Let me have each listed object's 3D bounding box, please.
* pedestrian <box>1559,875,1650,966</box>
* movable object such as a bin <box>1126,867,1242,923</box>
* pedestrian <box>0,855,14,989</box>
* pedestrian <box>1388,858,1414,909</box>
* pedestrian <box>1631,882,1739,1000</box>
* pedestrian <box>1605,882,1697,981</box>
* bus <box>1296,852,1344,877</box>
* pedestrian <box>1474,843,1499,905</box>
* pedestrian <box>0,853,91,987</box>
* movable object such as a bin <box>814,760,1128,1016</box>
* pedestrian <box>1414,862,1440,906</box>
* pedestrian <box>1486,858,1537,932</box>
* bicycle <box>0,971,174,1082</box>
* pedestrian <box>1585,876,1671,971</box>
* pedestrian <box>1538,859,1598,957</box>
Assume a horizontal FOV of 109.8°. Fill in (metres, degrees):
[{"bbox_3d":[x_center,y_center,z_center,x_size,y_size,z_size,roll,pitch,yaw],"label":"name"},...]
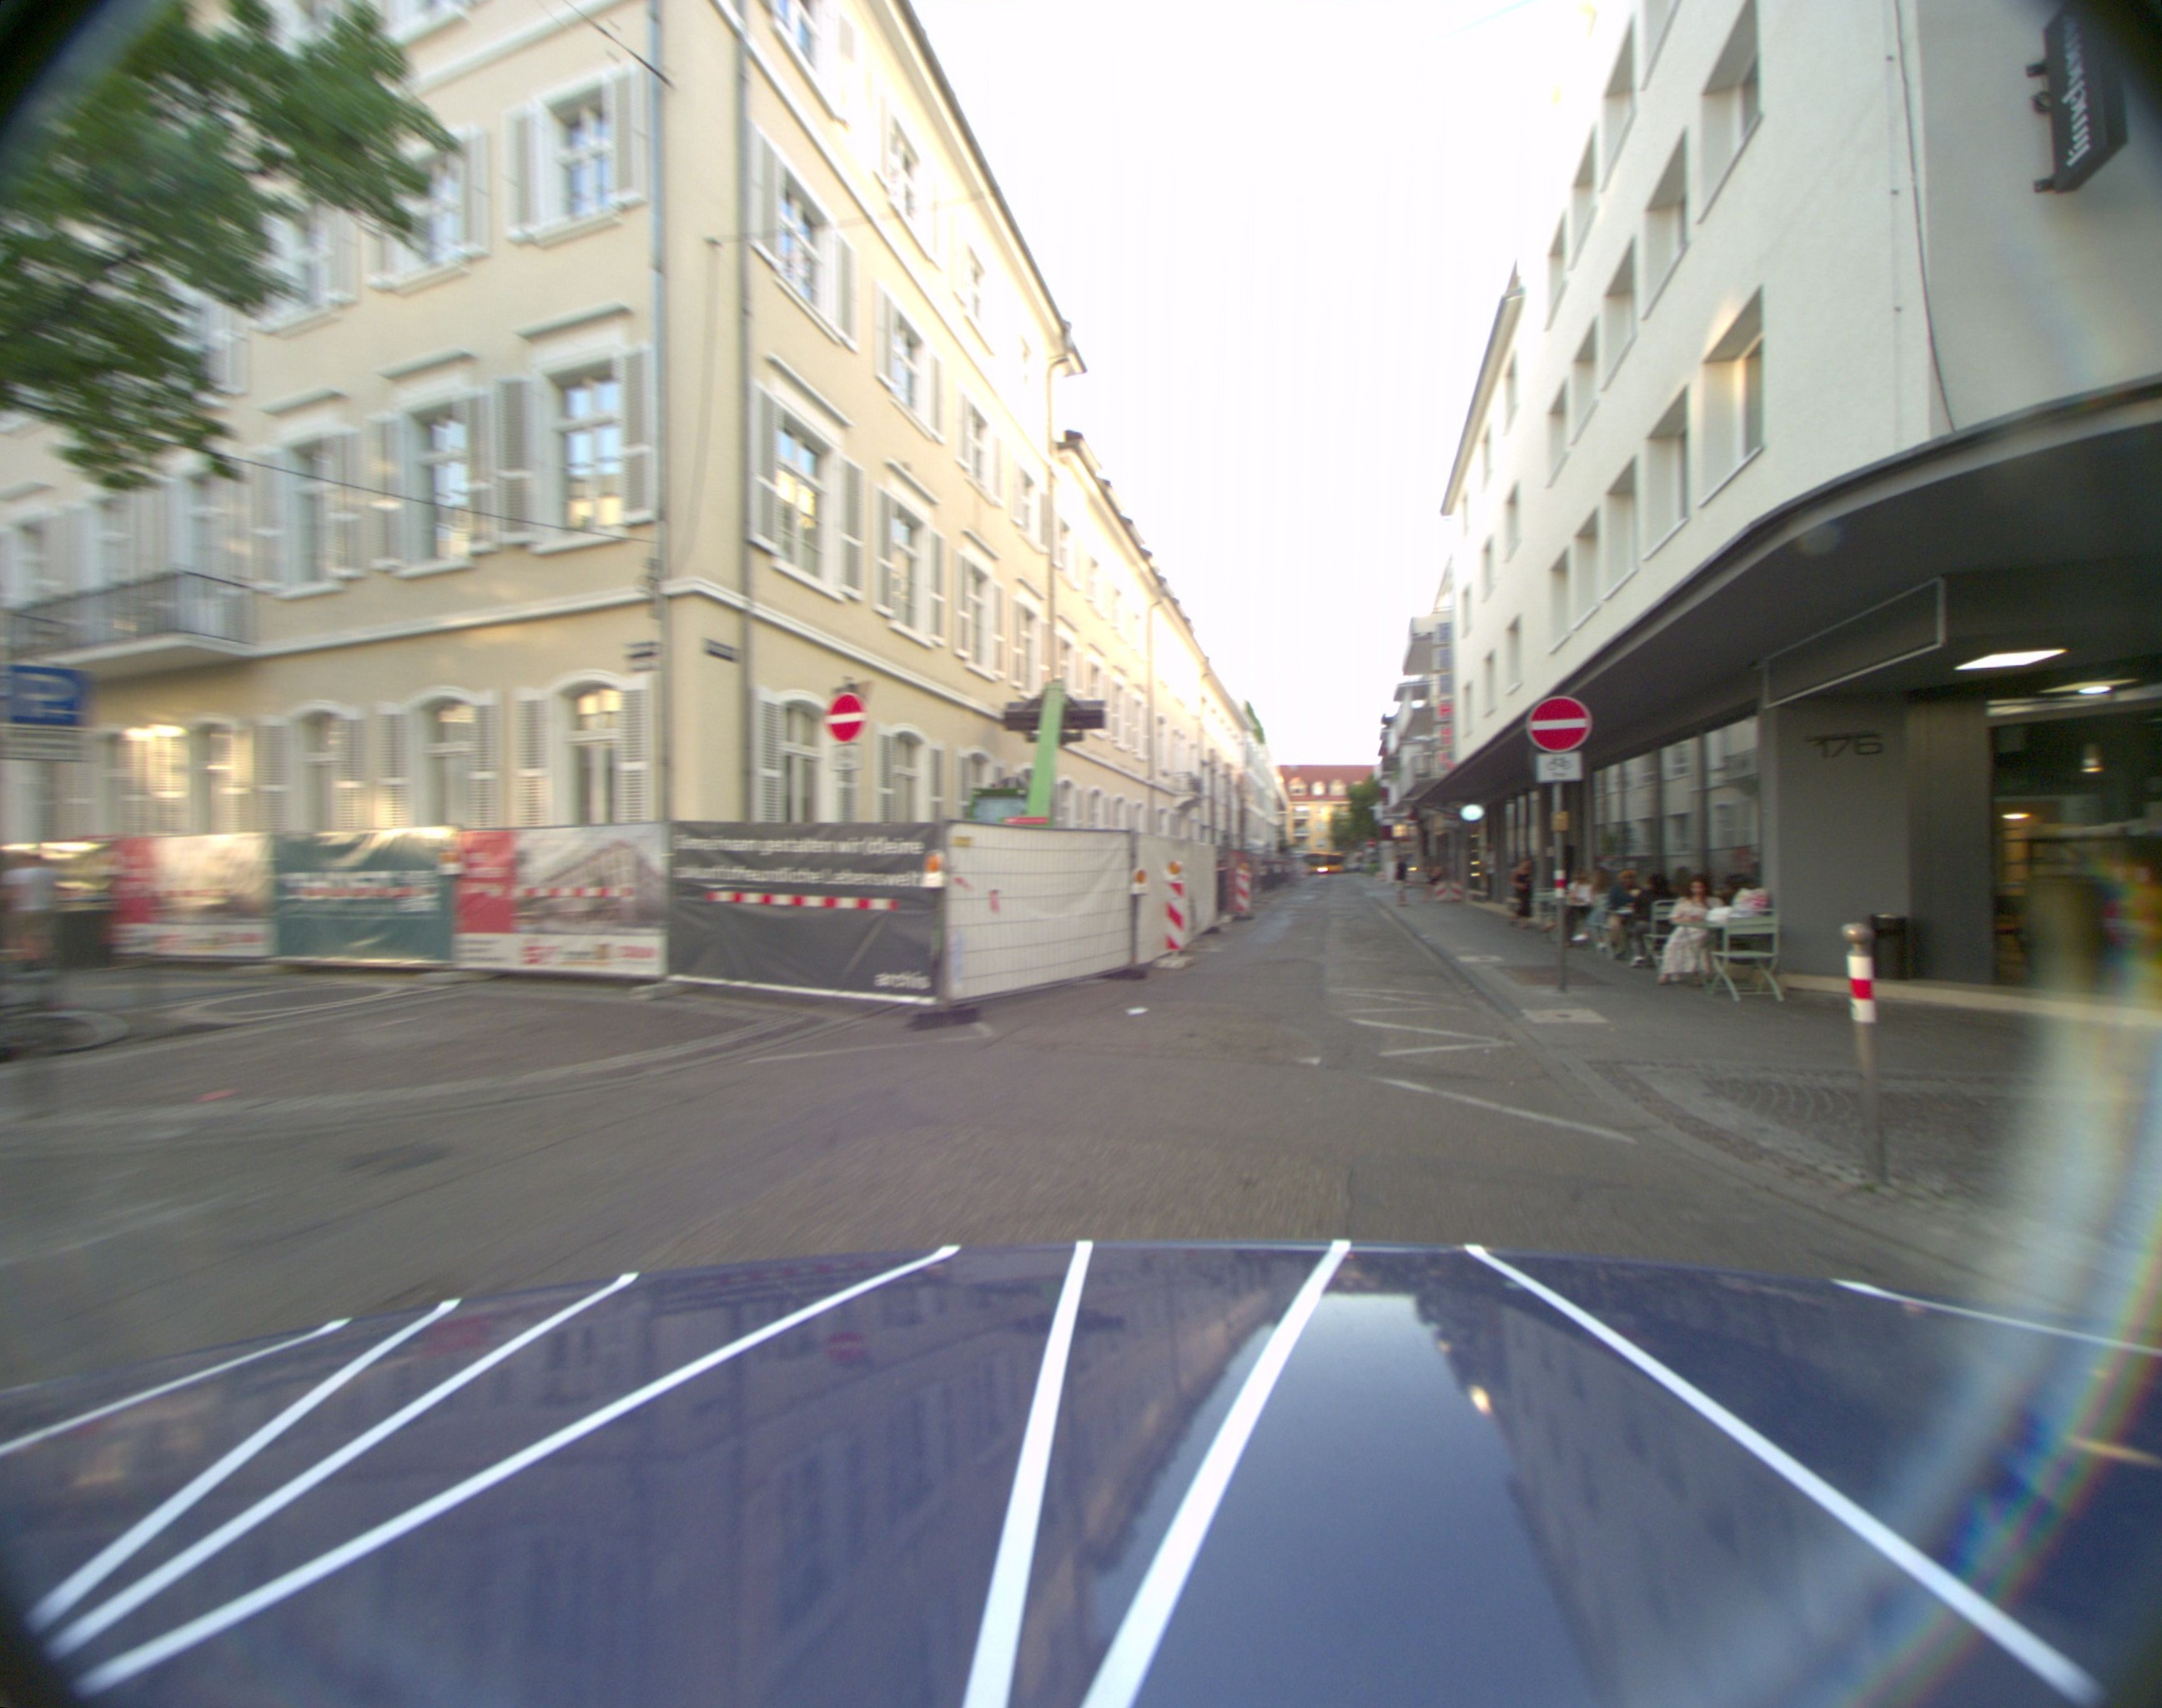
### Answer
[{"bbox_3d":[7.769,0.965,11.308,0.706,1.278,0.860,-1,-1,-6],"label":"pedestrian"},{"bbox_3d":[3.818,1.295,26.351,2.894,1.654,7.304,0,-1,17],"label":"movable object such as a bin"},{"bbox_3d":[-15.604,0.968,10.529,0.768,1.874,0.680,0,2,19],"label":"pedestrian"},{"bbox_3d":[11.250,1.034,26.745,0.705,1.771,0.934,-1,-1,18],"label":"pedestrian"},{"bbox_3d":[6.754,0.936,8.496,0.843,1.212,0.704,-1,-1,-35],"label":"pedestrian"},{"bbox_3d":[7.247,0.978,9.702,0.705,1.188,0.692,-4,-2,21],"label":"pedestrian"},{"bbox_3d":[34.518,1.358,109.214,3.914,3.306,12.558,0,1,30],"label":"bus"},{"bbox_3d":[11.790,0.575,22.101,0.545,1.800,0.614,0,0,18],"label":"pedestrian"},{"bbox_3d":[-15.531,0.943,11.237,0.878,1.874,0.760,0,2,19],"label":"pedestrian"},{"bbox_3d":[-1.191,0.415,11.502,2.638,2.855,5.572,0,-1,16],"label":"movable object such as a bin"},{"bbox_3d":[12.738,1.103,28.000,0.709,1.568,0.614,-2,-1,15],"label":"pedestrian"},{"bbox_3d":[9.366,0.883,16.543,0.658,1.560,0.638,-2,-1,-8],"label":"pedestrian"},{"bbox_3d":[-9.285,1.477,6.163,1.328,0.702,2.079,-1,0,12],"label":"bicycle"},{"bbox_3d":[7.544,0.944,10.516,0.705,1.232,0.779,-5,-2,21],"label":"pedestrian"},{"bbox_3d":[7.936,0.859,12.418,0.704,1.538,0.862,-1,-1,26],"label":"pedestrian"}]
